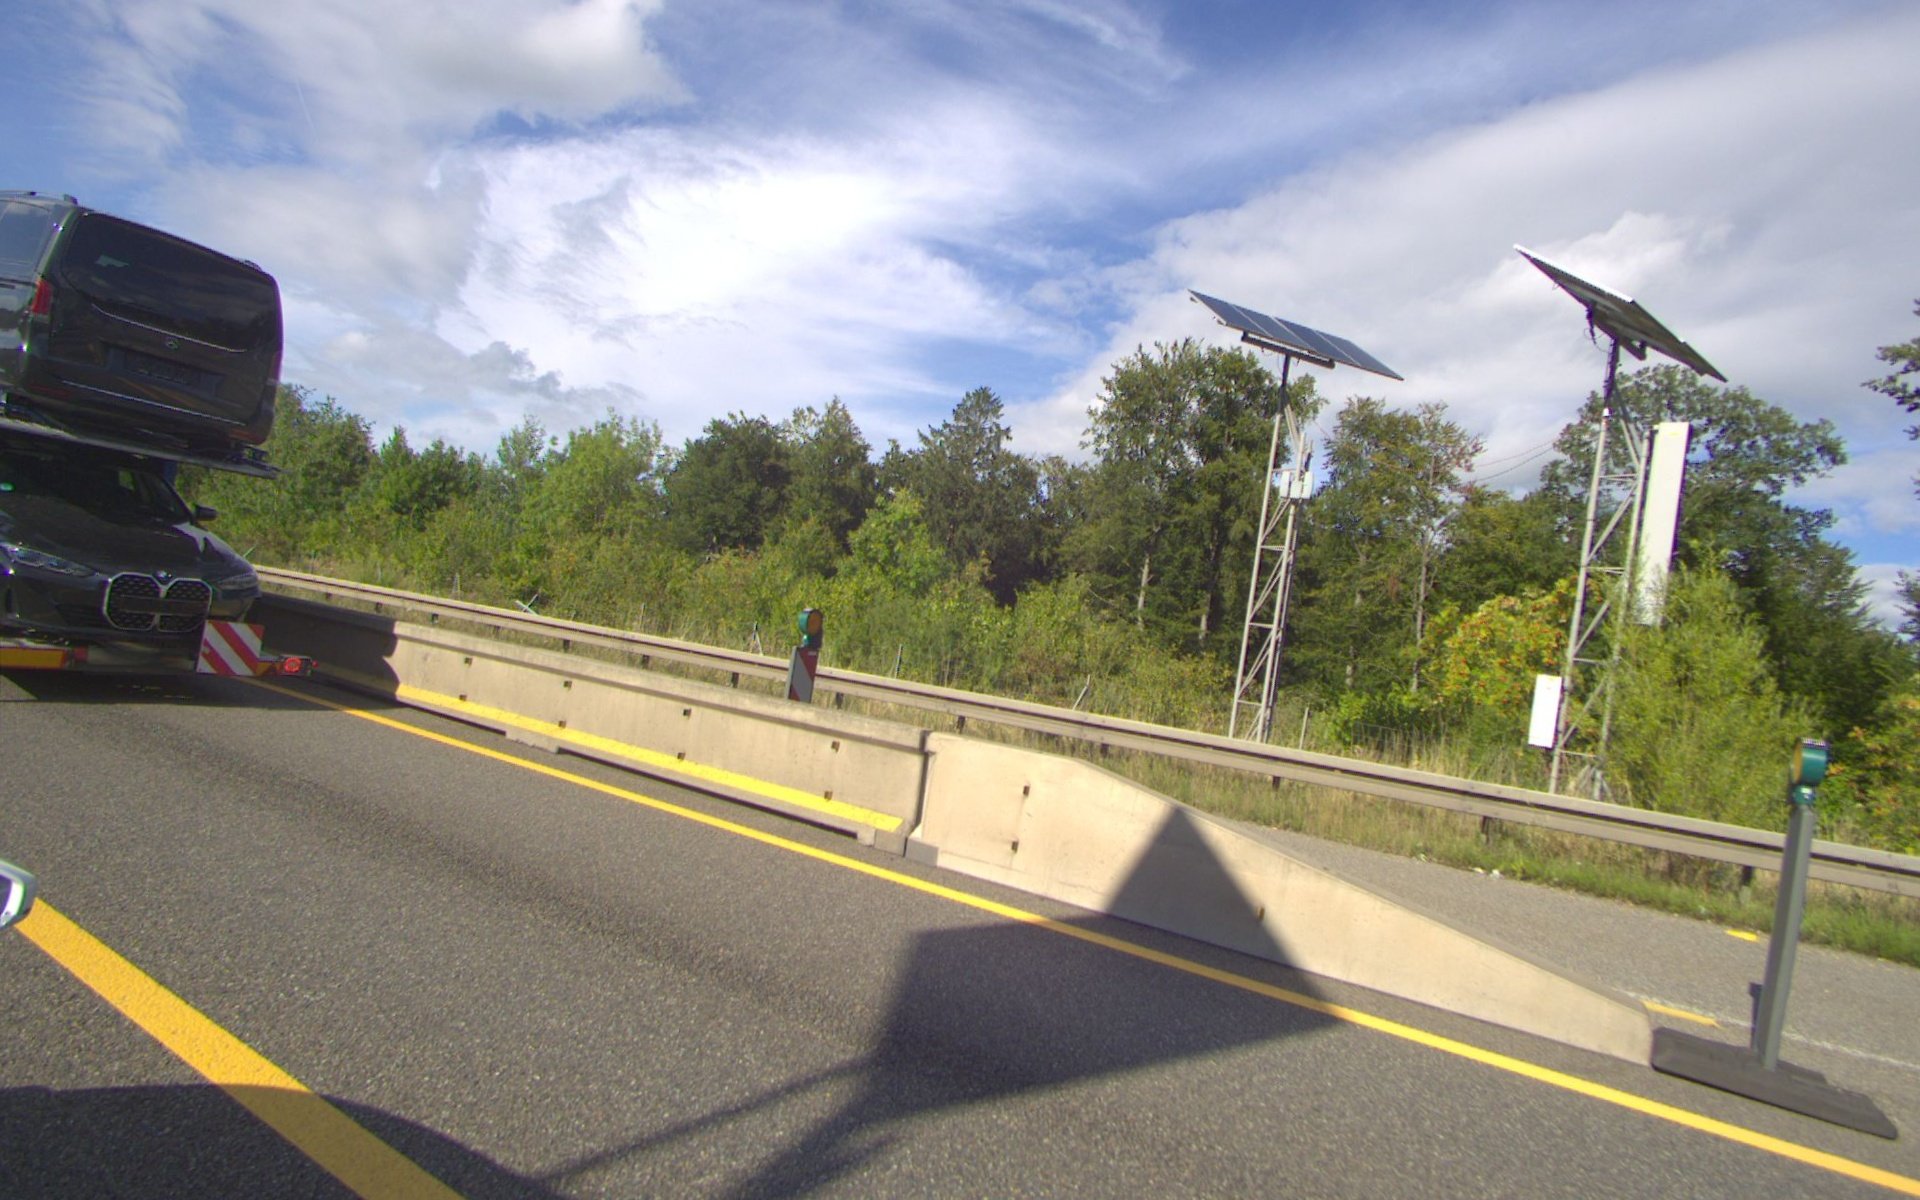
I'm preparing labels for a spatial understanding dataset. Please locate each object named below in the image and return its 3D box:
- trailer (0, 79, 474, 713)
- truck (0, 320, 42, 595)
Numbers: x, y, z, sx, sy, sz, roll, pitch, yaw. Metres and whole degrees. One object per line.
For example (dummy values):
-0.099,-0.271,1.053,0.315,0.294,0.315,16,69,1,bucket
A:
-12.577,-1.996,12.288,15.960,4.245,3.733,7,-1,32,trailer
-19.147,-2.757,16.495,7.820,4.245,3.768,7,-1,32,truck
